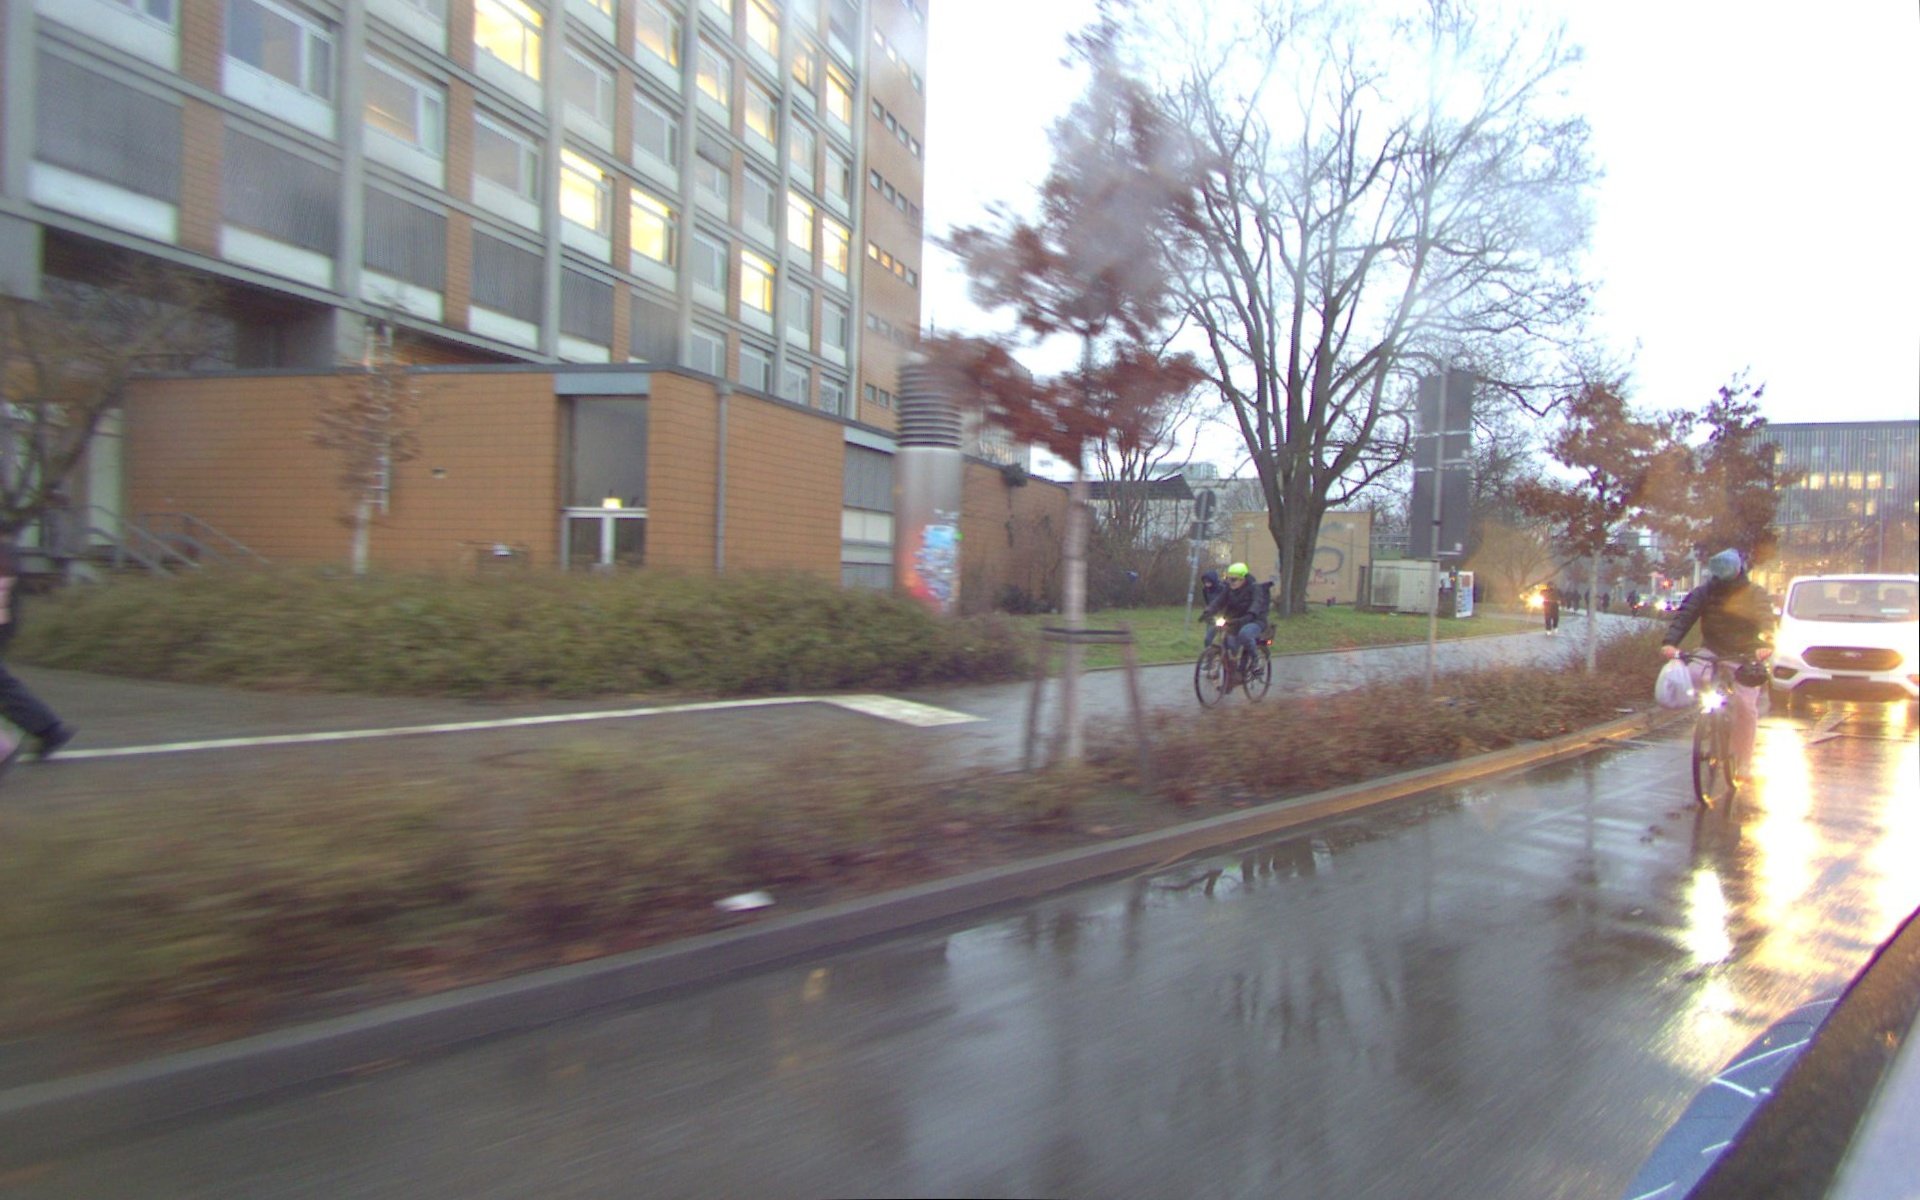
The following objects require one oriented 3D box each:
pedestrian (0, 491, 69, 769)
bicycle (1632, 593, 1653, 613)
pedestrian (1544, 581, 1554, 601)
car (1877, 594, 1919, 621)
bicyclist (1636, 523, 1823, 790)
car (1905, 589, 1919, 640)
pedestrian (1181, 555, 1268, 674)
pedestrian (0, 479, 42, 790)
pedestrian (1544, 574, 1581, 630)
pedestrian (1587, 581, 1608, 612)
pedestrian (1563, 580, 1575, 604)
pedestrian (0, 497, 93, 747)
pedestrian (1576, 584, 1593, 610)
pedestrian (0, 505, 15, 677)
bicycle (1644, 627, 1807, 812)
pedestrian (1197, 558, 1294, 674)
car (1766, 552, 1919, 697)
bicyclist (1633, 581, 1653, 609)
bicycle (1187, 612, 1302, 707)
[{"bbox_3d":[-6.218,0.157,6.399,0.599,1.708,0.671,3,2,-15],"label":"pedestrian"},{"bbox_3d":[42.123,0.176,62.476,0.800,1.155,2.190,5,3,30],"label":"bicycle"},{"bbox_3d":[60.842,-0.895,104.583,0.758,2.038,0.766,2,1,26],"label":"pedestrian"},{"bbox_3d":[54.230,0.440,57.515,1.913,1.393,4.458,3,2,26],"label":"car"},{"bbox_3d":[6.103,0.397,8.022,1.215,1.907,1.024,0,0,-45],"label":"bicyclist"},{"bbox_3d":[31.168,0.521,30.752,4.226,1.523,1.759,3,-1,-19],"label":"car"},{"bbox_3d":[4.038,0.194,15.431,0.808,1.708,1.053,4,3,44],"label":"pedestrian"},{"bbox_3d":[-5.943,0.193,5.843,0.753,1.803,0.587,1,2,-15],"label":"pedestrian"},{"bbox_3d":[19.443,0.066,32.660,0.906,1.708,0.917,4,1,32],"label":"pedestrian"},{"bbox_3d":[39.130,-0.250,62.113,0.924,1.848,0.826,3,2,27],"label":"pedestrian"},{"bbox_3d":[52.832,-0.662,87.832,0.758,2.038,0.903,2,2,25],"label":"pedestrian"},{"bbox_3d":[-6.818,0.135,7.202,0.744,1.708,0.722,1,1,-16],"label":"pedestrian"},{"bbox_3d":[46.367,-0.230,75.192,0.924,1.848,0.826,3,2,27],"label":"pedestrian"},{"bbox_3d":[-10.448,-0.103,10.693,0.579,1.813,0.554,2,1,32],"label":"pedestrian"},{"bbox_3d":[6.125,0.865,8.057,0.792,1.238,1.873,0,0,45],"label":"bicycle"},{"bbox_3d":[3.476,0.166,12.315,0.872,1.333,0.837,3,2,37],"label":"pedestrian"},{"bbox_3d":[14.187,0.395,15.768,2.131,1.945,4.937,2,-1,43],"label":"car"},{"bbox_3d":[42.181,-0.330,62.523,0.800,1.637,1.074,5,3,30],"label":"bicyclist"},{"bbox_3d":[3.463,0.672,12.205,0.561,0.958,2.066,3,3,38],"label":"bicycle"}]
